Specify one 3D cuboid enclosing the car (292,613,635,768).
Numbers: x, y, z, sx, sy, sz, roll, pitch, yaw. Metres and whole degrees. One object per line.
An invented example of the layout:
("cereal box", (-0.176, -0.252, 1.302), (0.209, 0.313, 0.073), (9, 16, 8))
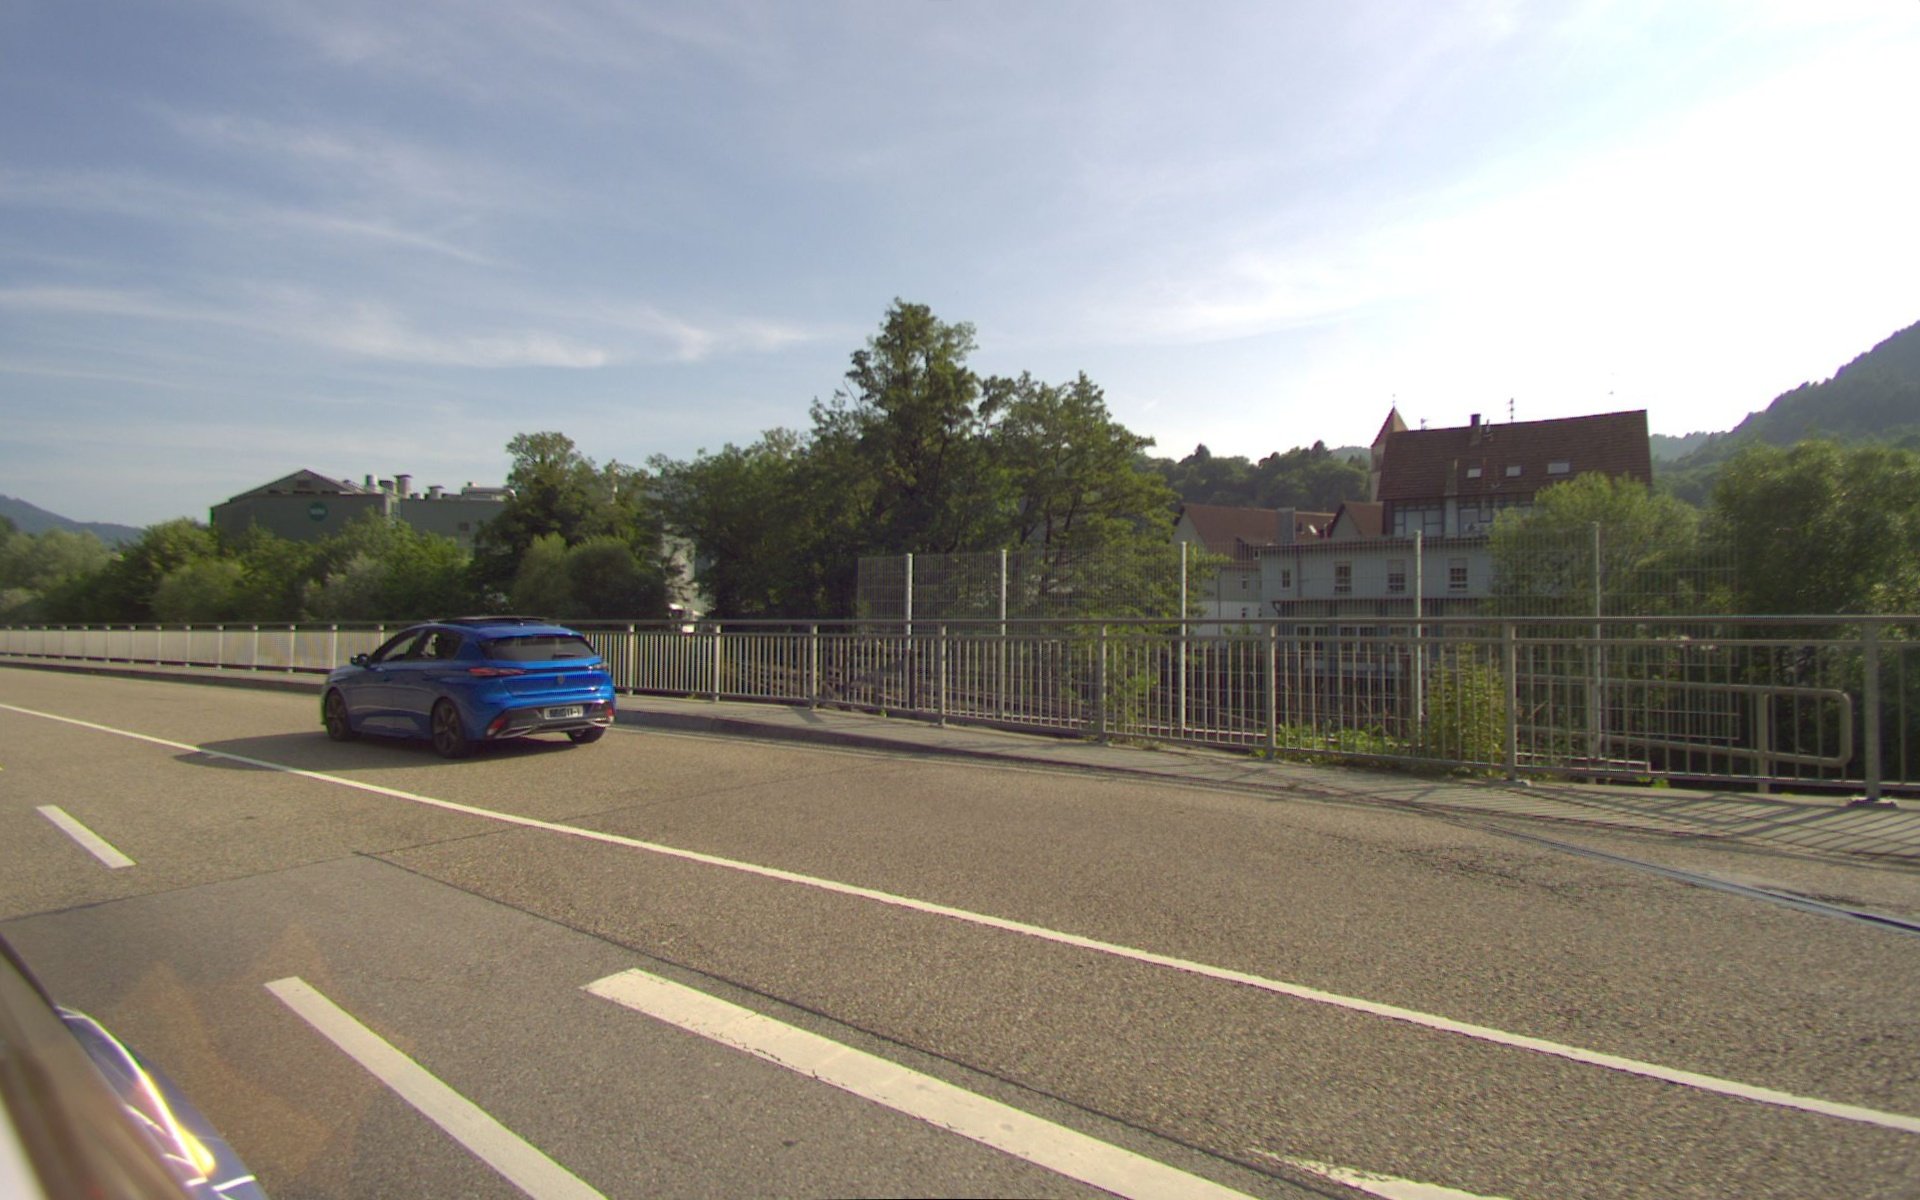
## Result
("car", (-5.933, 0.926, 11.868), (4.517, 1.493, 1.766), (-1, -1, 37))
